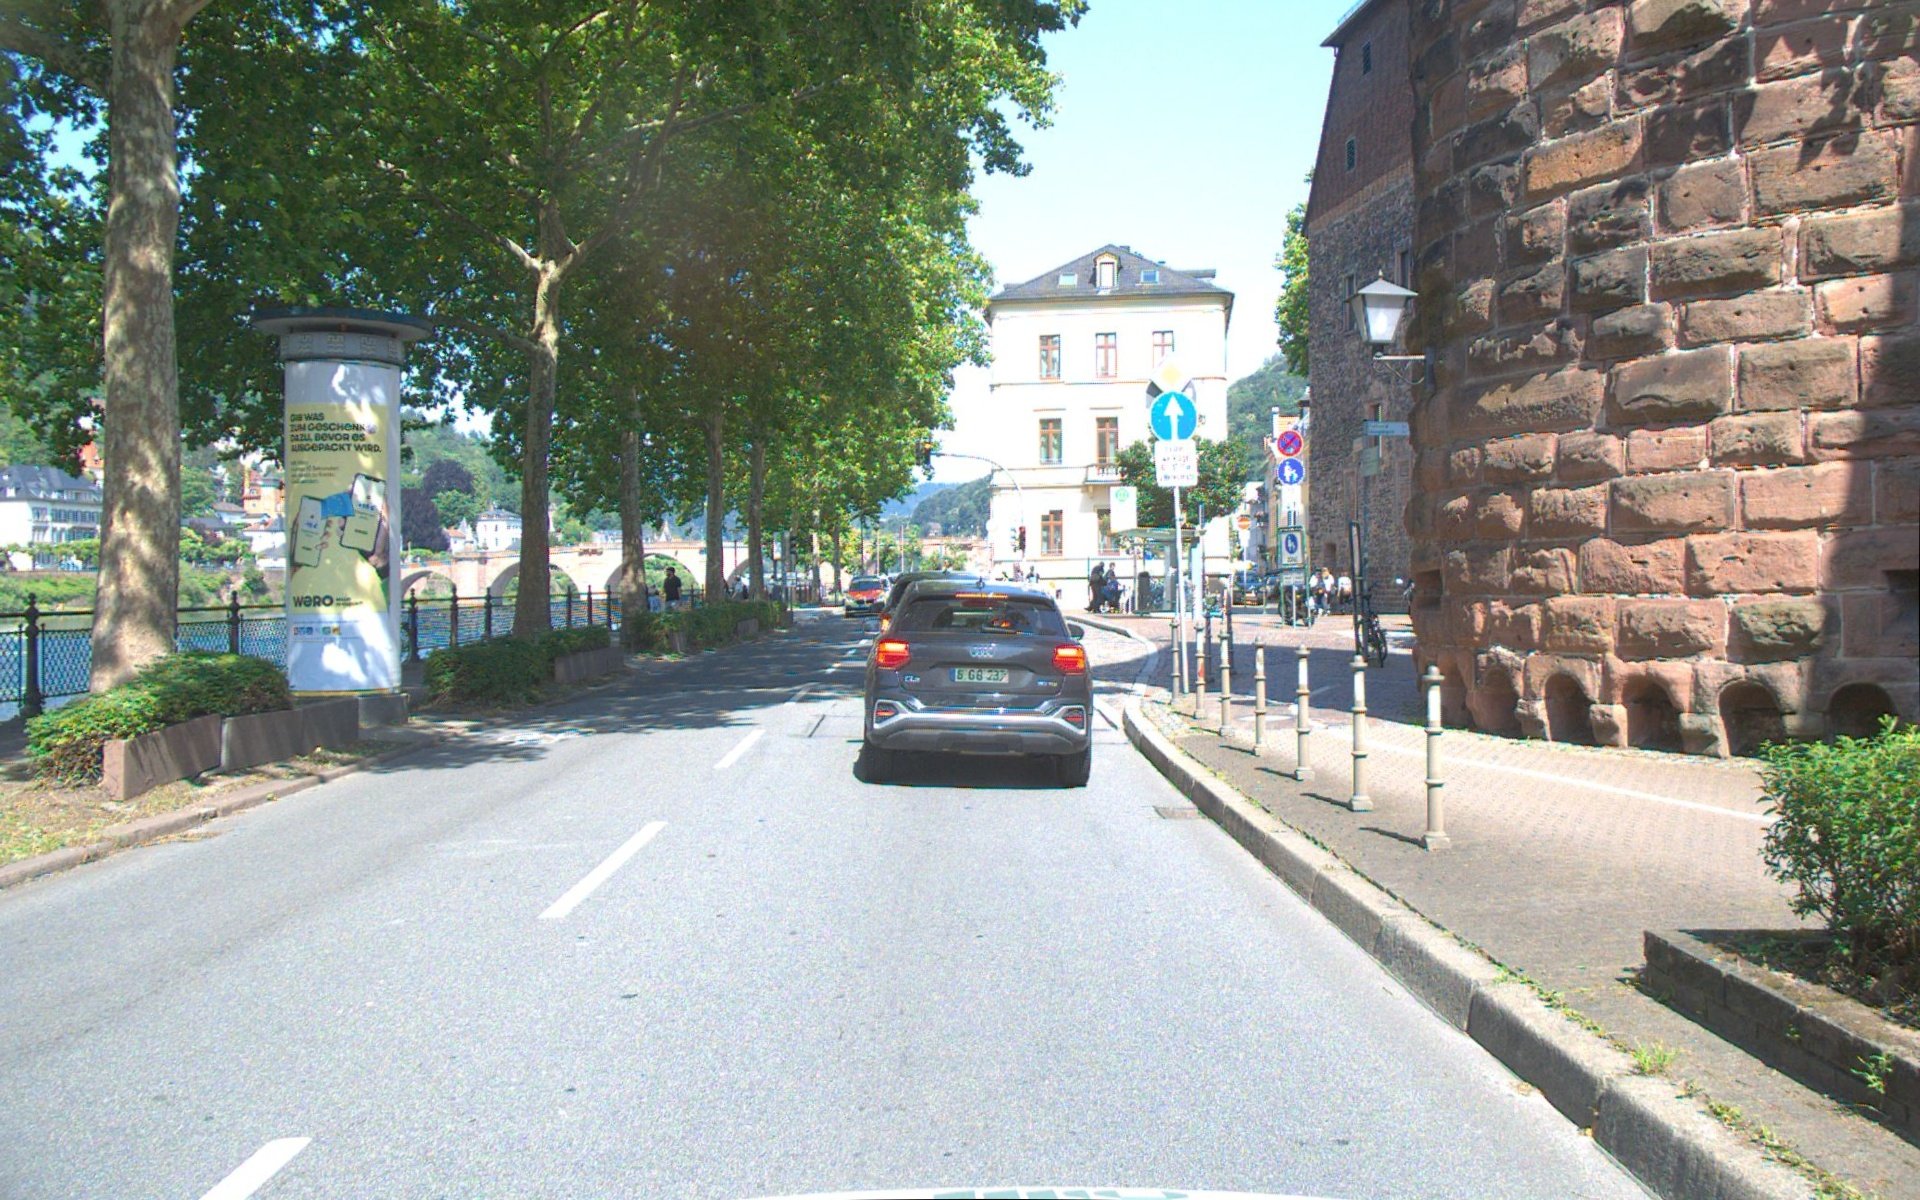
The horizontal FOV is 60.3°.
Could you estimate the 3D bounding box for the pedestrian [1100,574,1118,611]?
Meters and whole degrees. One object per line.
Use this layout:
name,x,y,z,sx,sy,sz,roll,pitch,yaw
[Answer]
pedestrian,5.041,-0.265,55.950,0.535,1.222,0.522,1,0,0

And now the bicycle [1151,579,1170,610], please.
bicycle,6.674,-0.193,55.209,0.441,0.991,1.399,1,0,0

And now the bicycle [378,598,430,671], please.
bicycle,-9.509,0.567,28.325,0.350,1.182,1.825,1,0,-3

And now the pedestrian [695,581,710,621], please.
pedestrian,-10.235,0.046,65.763,0.488,1.564,0.679,-2,0,-8

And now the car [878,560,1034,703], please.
car,-0.053,0.337,20.979,1.764,1.589,3.716,-2,1,0

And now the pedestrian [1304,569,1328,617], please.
pedestrian,11.480,-0.219,53.348,0.644,1.519,0.548,1,0,1

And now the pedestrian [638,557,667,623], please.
pedestrian,-8.357,-0.280,44.918,0.632,1.747,0.665,-2,0,-3

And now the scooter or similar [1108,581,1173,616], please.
scooter or similar,5.184,-0.043,47.482,1.808,0.980,0.429,1,0,-1

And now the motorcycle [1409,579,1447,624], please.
motorcycle,10.553,0.037,37.317,0.426,0.990,1.359,1,0,0

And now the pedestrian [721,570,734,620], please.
pedestrian,-9.260,-0.202,65.928,0.490,1.993,0.438,1,0,-8

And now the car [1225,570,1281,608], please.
car,14.220,-0.557,80.446,1.953,1.746,4.000,1,0,0

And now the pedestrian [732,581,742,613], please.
pedestrian,-10.325,-0.130,76.670,0.401,1.450,0.456,1,0,-5

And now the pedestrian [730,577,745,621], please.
pedestrian,-8.702,-0.040,64.658,0.507,1.666,0.438,-2,0,-8

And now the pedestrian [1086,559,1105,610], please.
pedestrian,4.506,-0.510,55.092,0.545,1.661,0.660,1,0,0

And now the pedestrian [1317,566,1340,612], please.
pedestrian,12.612,-0.382,56.654,0.644,1.544,0.548,1,0,1

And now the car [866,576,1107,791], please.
car,0.141,0.580,13.715,1.713,1.520,3.628,1,1,-2

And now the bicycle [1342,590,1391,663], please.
bicycle,6.076,0.378,24.790,0.485,1.048,2.052,0,0,7

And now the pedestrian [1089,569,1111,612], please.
pedestrian,5.232,-0.345,61.897,0.731,1.585,0.588,1,0,0

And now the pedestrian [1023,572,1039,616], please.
pedestrian,2.569,-0.218,59.747,0.545,1.585,0.660,1,0,0

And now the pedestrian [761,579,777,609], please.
pedestrian,-8.325,-0.265,72.083,0.579,1.301,0.525,-2,0,-1

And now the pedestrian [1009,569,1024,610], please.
pedestrian,2.196,-0.413,64.248,0.545,1.585,0.660,1,0,0

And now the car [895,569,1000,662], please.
car,-0.222,0.246,30.179,1.764,1.549,3.716,-1,1,0

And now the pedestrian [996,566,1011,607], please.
pedestrian,1.697,-0.523,64.849,0.545,1.585,0.660,1,0,0

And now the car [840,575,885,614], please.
car,-4.131,-0.253,70.213,1.581,1.549,3.477,-2,1,1

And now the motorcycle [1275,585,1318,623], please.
motorcycle,7.714,0.081,37.986,0.474,0.832,2.279,-2,1,0

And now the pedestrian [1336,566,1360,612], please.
pedestrian,13.293,-0.364,56.623,0.644,1.544,0.627,1,0,1

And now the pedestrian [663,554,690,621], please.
pedestrian,-7.704,-0.342,44.983,0.552,1.771,0.665,-3,0,-4
